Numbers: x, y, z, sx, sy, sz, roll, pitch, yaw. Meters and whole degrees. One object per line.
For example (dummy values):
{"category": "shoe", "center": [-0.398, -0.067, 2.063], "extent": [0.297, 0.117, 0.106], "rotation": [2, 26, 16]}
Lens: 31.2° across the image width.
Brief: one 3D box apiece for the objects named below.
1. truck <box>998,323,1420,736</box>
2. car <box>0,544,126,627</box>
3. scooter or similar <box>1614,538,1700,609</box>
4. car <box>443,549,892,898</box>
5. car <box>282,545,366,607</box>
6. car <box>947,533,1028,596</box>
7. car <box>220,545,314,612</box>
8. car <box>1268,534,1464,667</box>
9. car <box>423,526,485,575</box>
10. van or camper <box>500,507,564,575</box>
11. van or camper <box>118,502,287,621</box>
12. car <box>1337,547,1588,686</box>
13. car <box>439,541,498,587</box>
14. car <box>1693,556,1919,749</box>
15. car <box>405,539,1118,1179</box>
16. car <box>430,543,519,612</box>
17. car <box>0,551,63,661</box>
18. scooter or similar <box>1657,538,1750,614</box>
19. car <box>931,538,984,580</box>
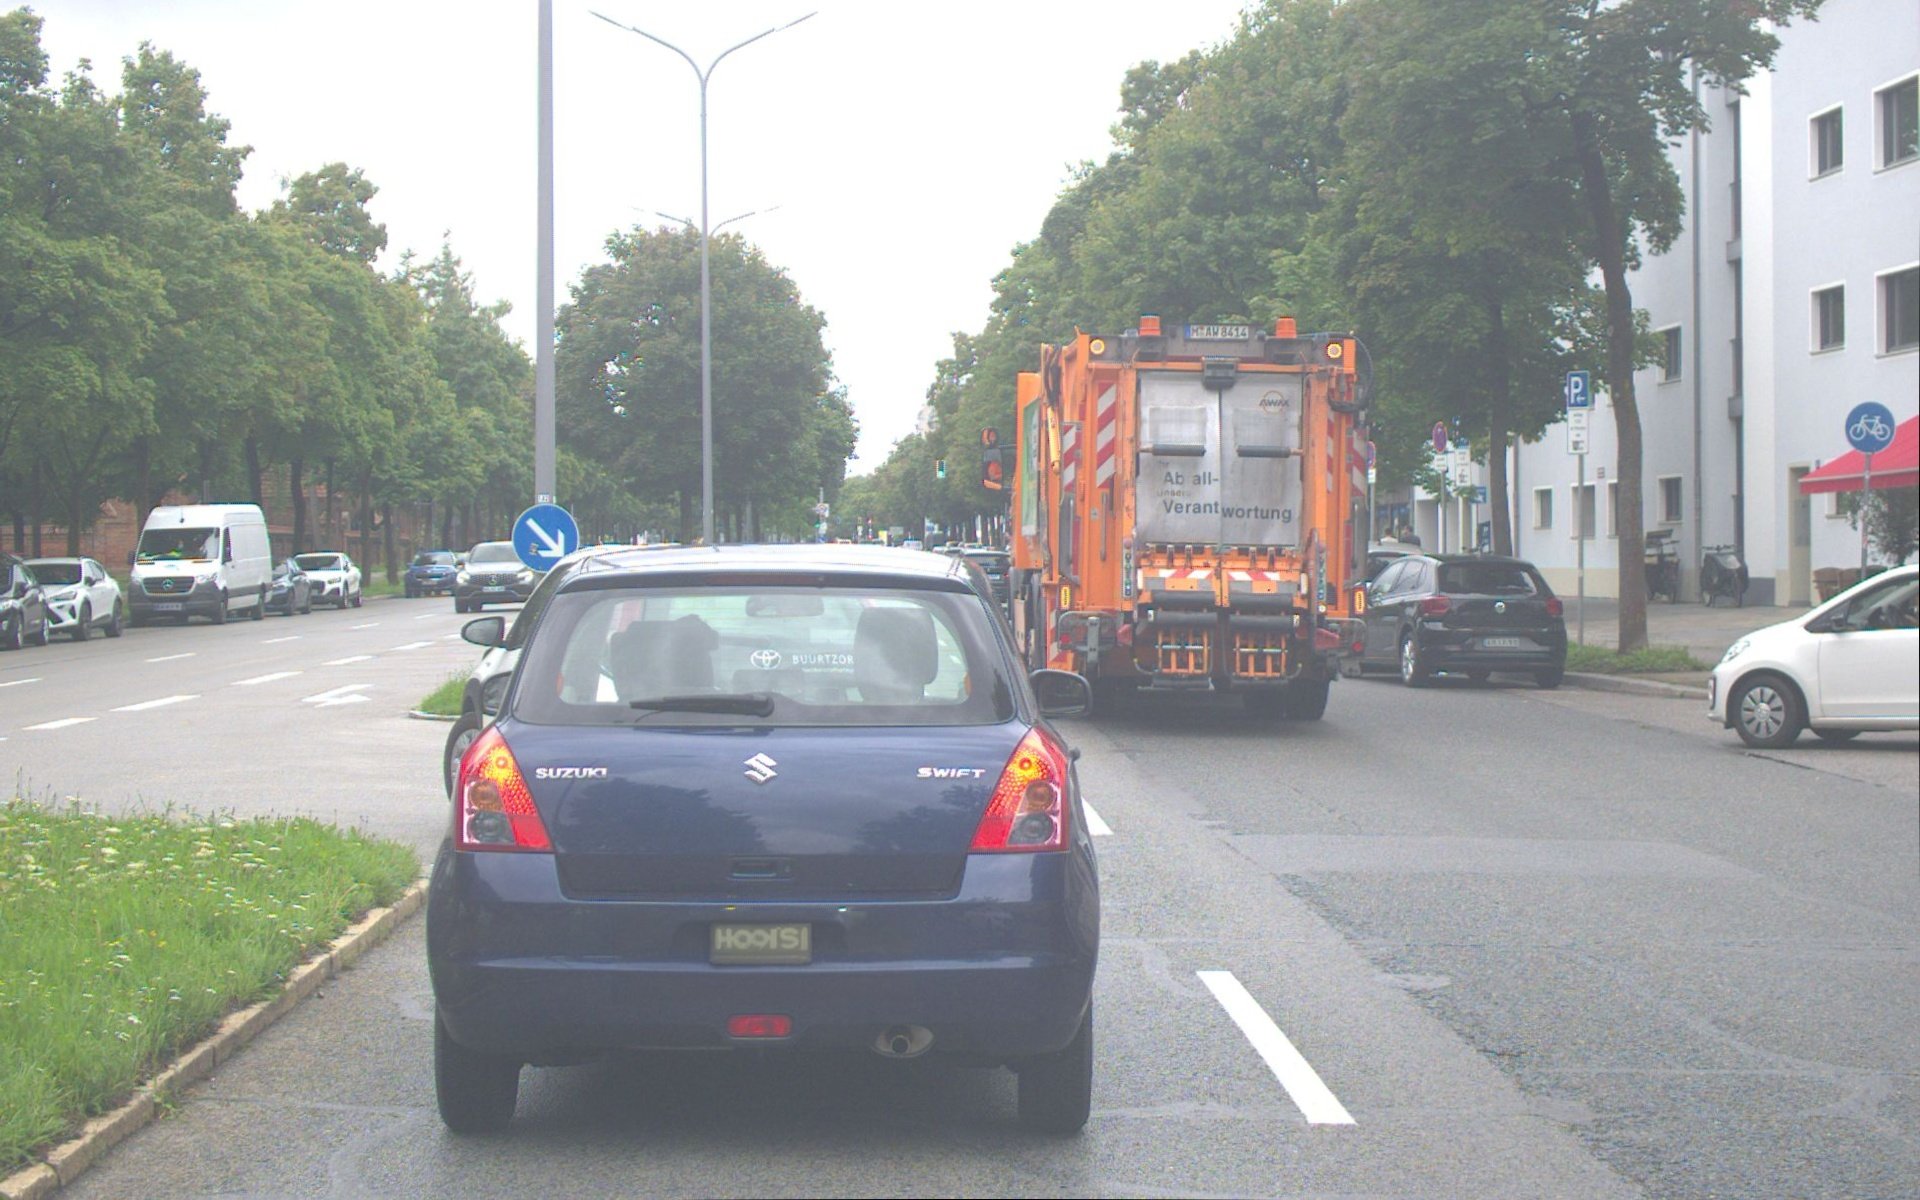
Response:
{"category": "truck", "center": [1.981, -0.632, 31.258], "extent": [3.039, 3.178, 9.134], "rotation": [1, 1, -1]}
{"category": "car", "center": [-16.218, -0.284, 61.761], "extent": [1.632, 1.426, 3.879], "rotation": [1, 1, -2]}
{"category": "scooter or similar", "center": [13.144, -0.516, 64.933], "extent": [1.033, 1.303, 2.755], "rotation": [0, 1, -1]}
{"category": "car", "center": [-1.483, 0.507, 16.475], "extent": [1.443, 1.478, 3.107], "rotation": [0, 1, -19]}
{"category": "car", "center": [-16.903, -0.655, 91.464], "extent": [1.632, 1.577, 3.879], "rotation": [1, 1, -2]}
{"category": "car", "center": [0.624, -0.857, 81.520], "extent": [1.758, 1.408, 4.463], "rotation": [1, 1, -1]}
{"category": "car", "center": [-16.868, -0.546, 83.816], "extent": [1.632, 1.577, 3.879], "rotation": [1, 1, -2]}
{"category": "car", "center": [5.034, -0.031, 43.130], "extent": [1.791, 1.553, 4.225], "rotation": [-1, 1, -2]}
{"category": "car", "center": [-16.833, -1.636, 114.484], "extent": [1.632, 1.577, 3.879], "rotation": [1, 1, -2]}
{"category": "van or camper", "center": [-21.474, -2.944, 172.609], "extent": [2.561, 3.284, 6.938], "rotation": [1, 1, -2]}
{"category": "van or camper", "center": [-16.637, -0.857, 75.933], "extent": [2.117, 2.473, 7.449], "rotation": [1, 1, 0]}
{"category": "car", "center": [5.536, 0.142, 38.370], "extent": [1.865, 1.412, 4.225], "rotation": [-1, 1, -4]}
{"category": "car", "center": [-17.209, -1.263, 120.399], "extent": [1.632, 1.577, 3.879], "rotation": [1, 1, -2]}
{"category": "car", "center": [7.661, 0.379, 26.345], "extent": [3.555, 1.412, 1.868], "rotation": [0, 1, 34]}
{"category": "car", "center": [-0.549, 0.580, 10.098], "extent": [1.682, 1.496, 3.919], "rotation": [0, 1, -2]}
{"category": "car", "center": [-11.214, -0.541, 79.668], "extent": [1.632, 1.547, 3.879], "rotation": [1, 1, -2]}
{"category": "car", "center": [-15.997, 0.058, 56.432], "extent": [1.632, 1.735, 3.879], "rotation": [1, 1, -2]}
{"category": "scooter or similar", "center": [13.215, -0.439, 61.163], "extent": [1.033, 1.303, 2.755], "rotation": [0, 1, -1]}
{"category": "car", "center": [-0.094, -1.419, 117.292], "extent": [1.682, 1.379, 3.919], "rotation": [1, 1, -2]}
